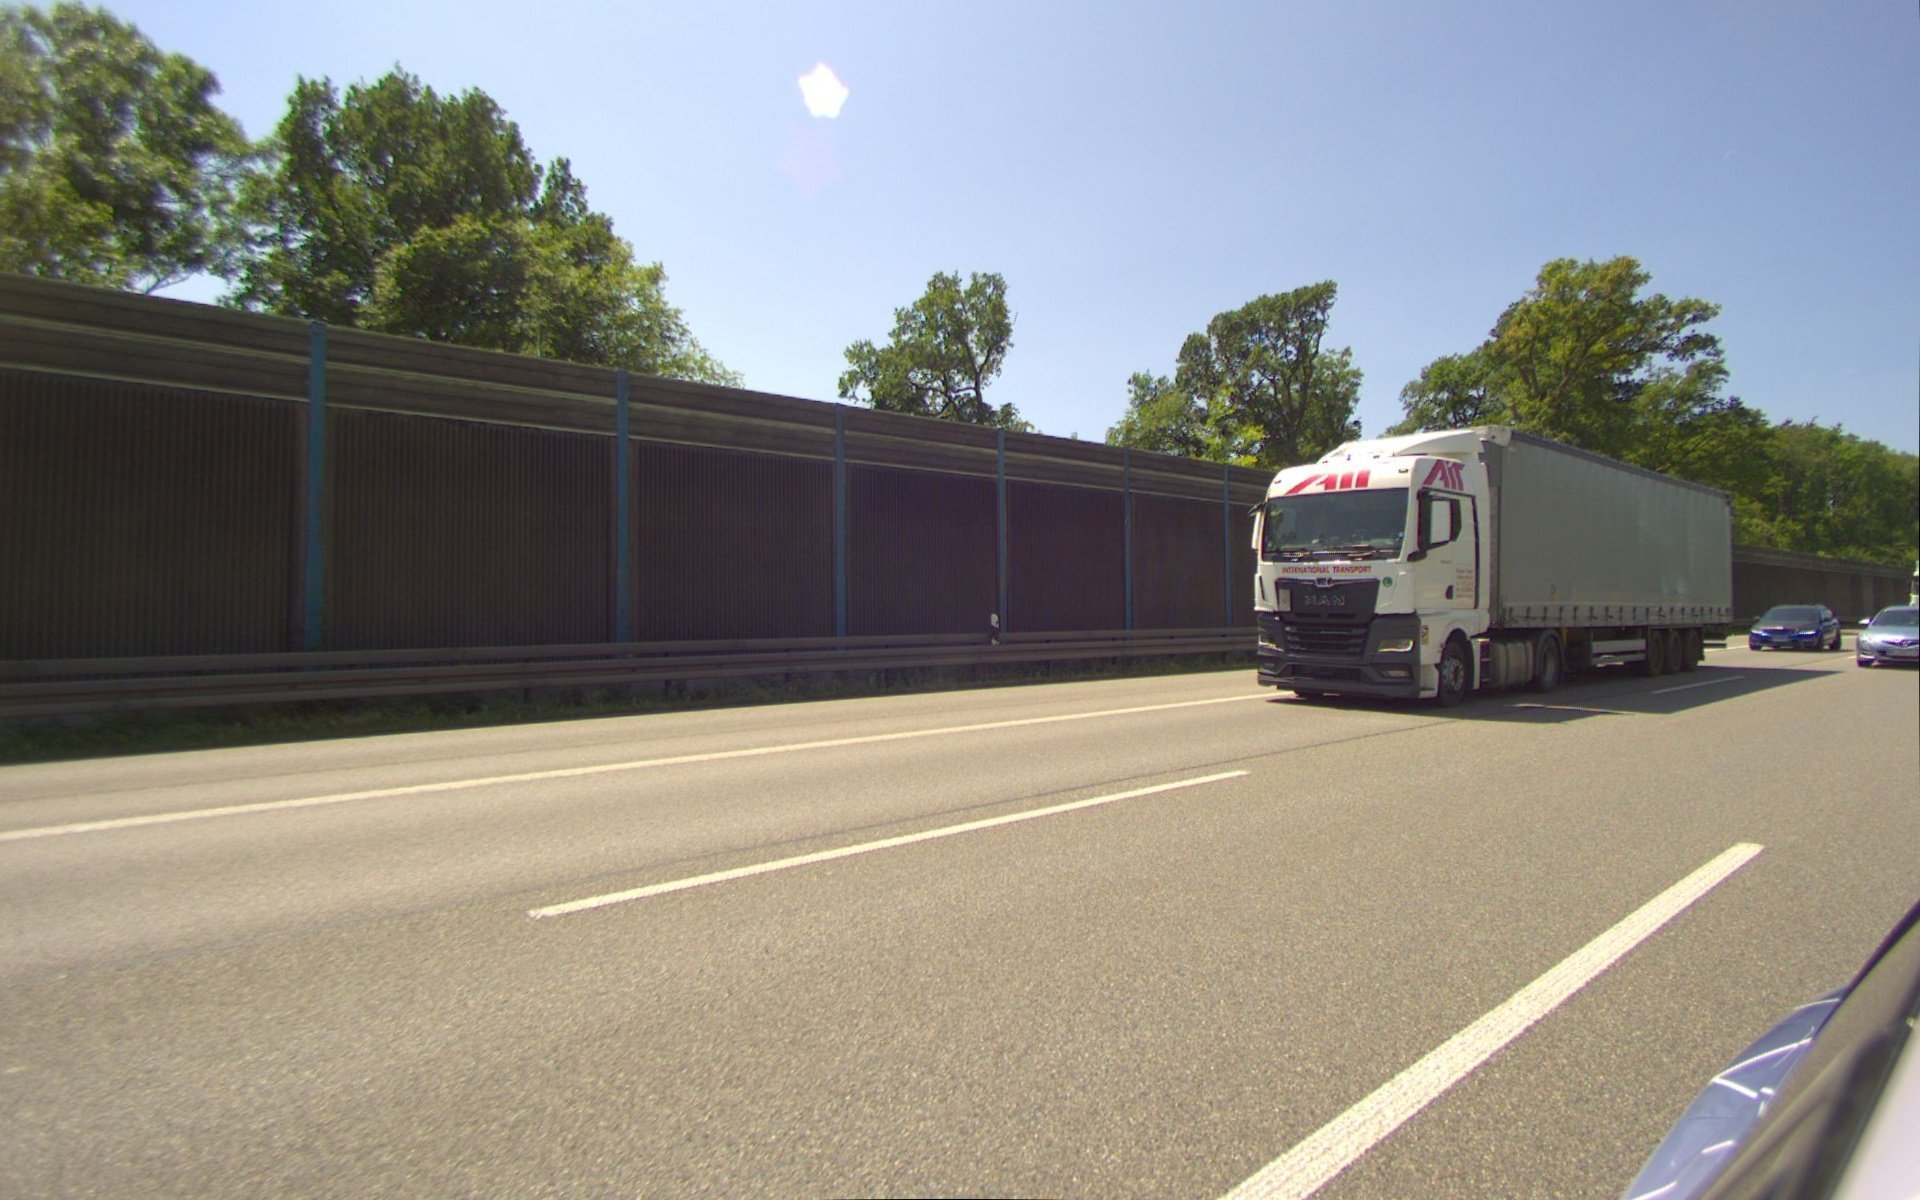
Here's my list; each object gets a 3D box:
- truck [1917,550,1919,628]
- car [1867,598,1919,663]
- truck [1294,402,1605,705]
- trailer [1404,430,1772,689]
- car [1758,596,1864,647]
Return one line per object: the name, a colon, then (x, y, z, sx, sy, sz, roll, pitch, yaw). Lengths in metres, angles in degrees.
truck: (55.756, -0.609, 56.267, 5.321, 4.269, 2.812, 0, -1, -37)
car: (22.951, 0.687, 23.755, 4.101, 1.452, 1.860, 0, -1, -39)
truck: (8.148, -0.662, 16.614, 5.454, 4.142, 2.603, 0, 0, -40)
trailer: (13.946, -0.701, 21.524, 13.350, 4.142, 2.603, 0, 0, -40)
car: (27.247, 0.662, 32.382, 4.101, 1.512, 1.860, 0, -1, -39)
